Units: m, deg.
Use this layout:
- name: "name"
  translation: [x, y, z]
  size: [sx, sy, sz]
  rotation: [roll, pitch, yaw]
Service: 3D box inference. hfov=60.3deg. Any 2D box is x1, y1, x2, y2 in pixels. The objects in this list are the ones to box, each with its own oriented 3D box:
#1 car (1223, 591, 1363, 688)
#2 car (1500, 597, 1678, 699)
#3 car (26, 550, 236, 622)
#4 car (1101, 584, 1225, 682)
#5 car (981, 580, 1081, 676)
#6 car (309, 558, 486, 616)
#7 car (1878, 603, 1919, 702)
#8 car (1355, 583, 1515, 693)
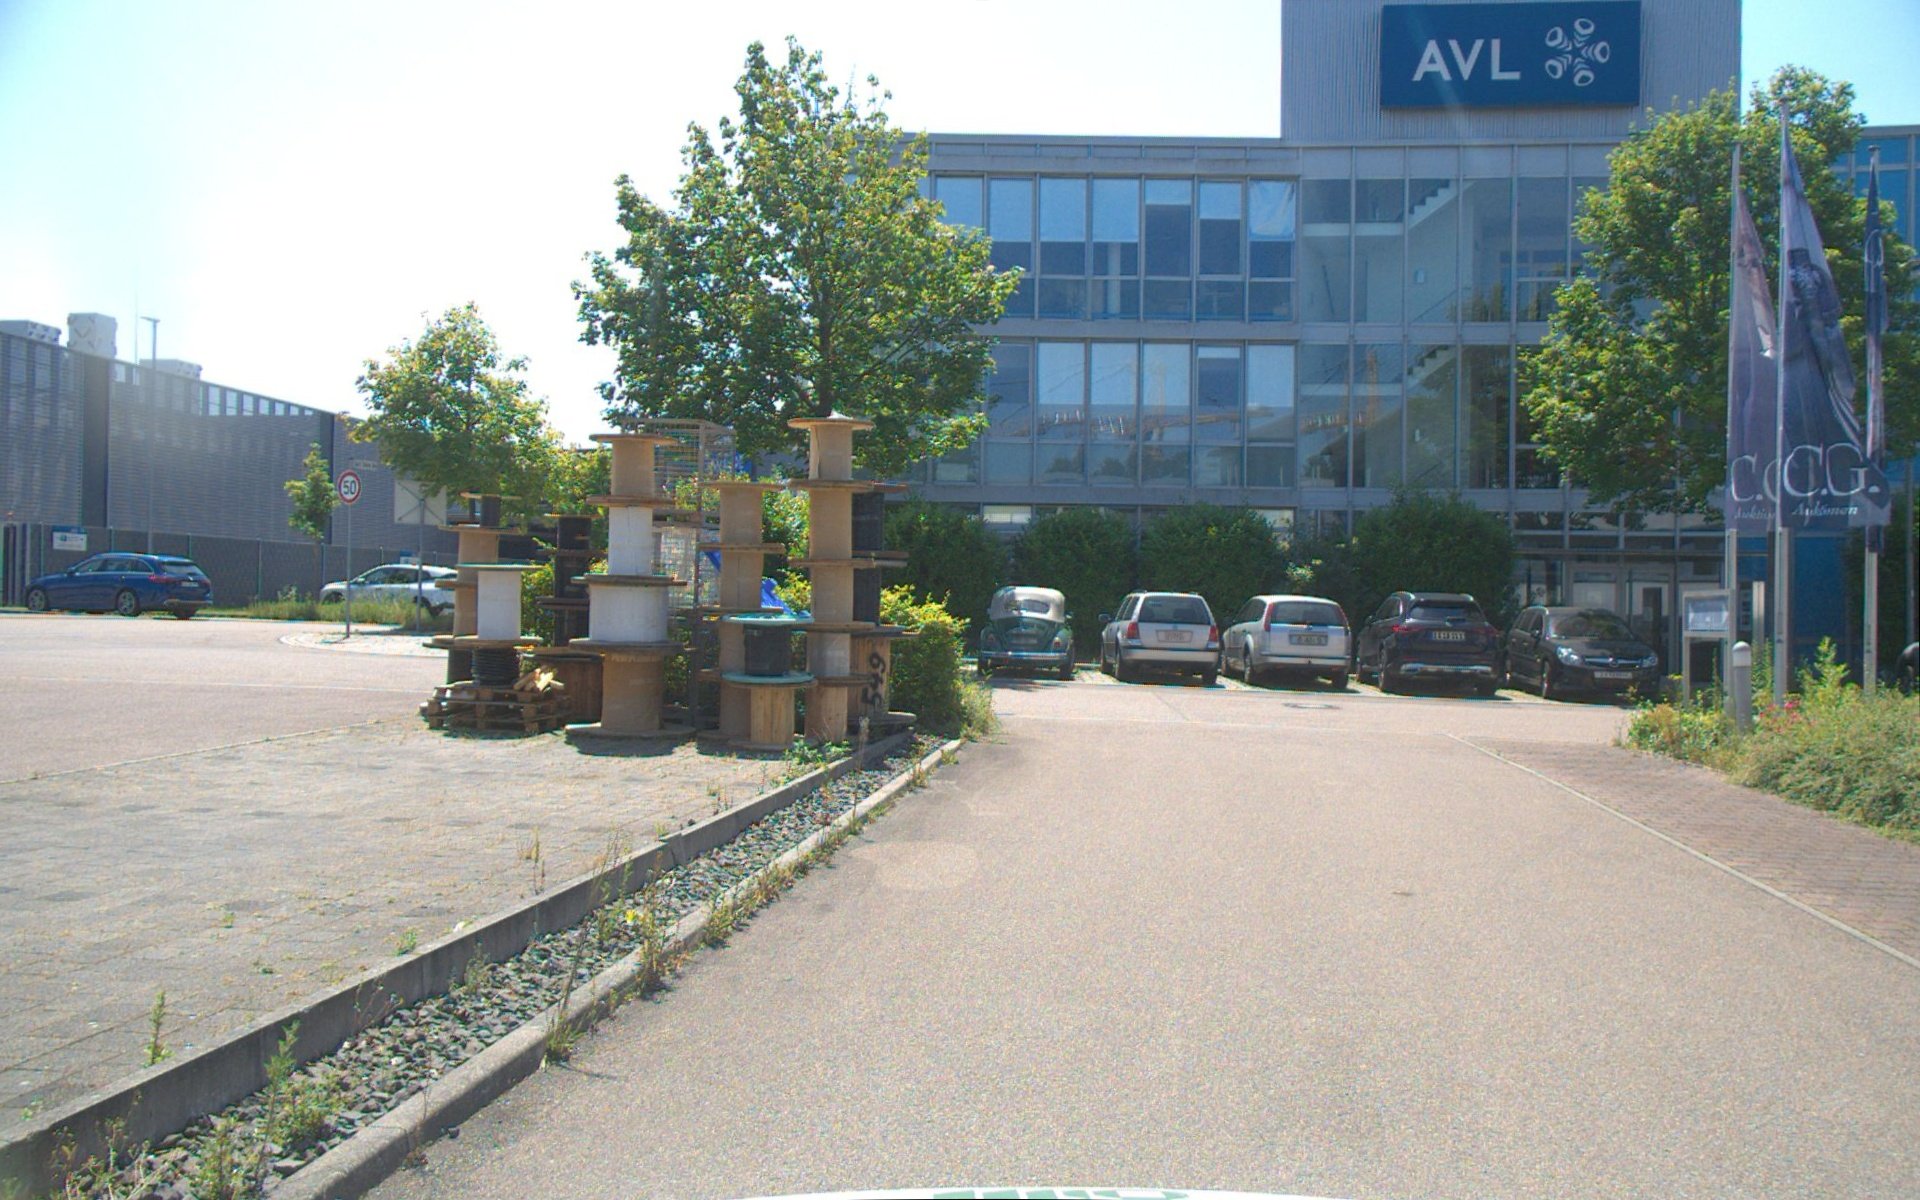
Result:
- name: "car"
  translation: [5.708, 0.629, 28.767]
  size: [1.729, 1.474, 3.655]
  rotation: [2, 1, 1]
- name: "car"
  translation: [10.506, 0.746, 27.940]
  size: [1.732, 1.507, 4.262]
  rotation: [1, 1, 6]
- name: "car"
  translation: [-19.660, -0.339, 39.247]
  size: [4.408, 1.517, 2.000]
  rotation: [2, 1, 21]
- name: "car"
  translation: [3.414, 0.509, 28.381]
  size: [1.696, 1.474, 3.655]
  rotation: [2, 1, 1]
- name: "car"
  translation: [1.268, 0.432, 28.362]
  size: [1.509, 1.474, 3.656]
  rotation: [2, 1, 5]
- name: "car"
  translation: [-16.501, -0.403, 48.538]
  size: [4.739, 1.517, 2.000]
  rotation: [2, 1, 21]
- name: "car"
  translation: [17.061, 0.928, 27.249]
  size: [1.781, 1.648, 4.343]
  rotation: [1, 1, 6]
- name: "car"
  translation: [8.007, 0.581, 28.228]
  size: [1.886, 1.638, 3.989]
  rotation: [2, 1, 6]
